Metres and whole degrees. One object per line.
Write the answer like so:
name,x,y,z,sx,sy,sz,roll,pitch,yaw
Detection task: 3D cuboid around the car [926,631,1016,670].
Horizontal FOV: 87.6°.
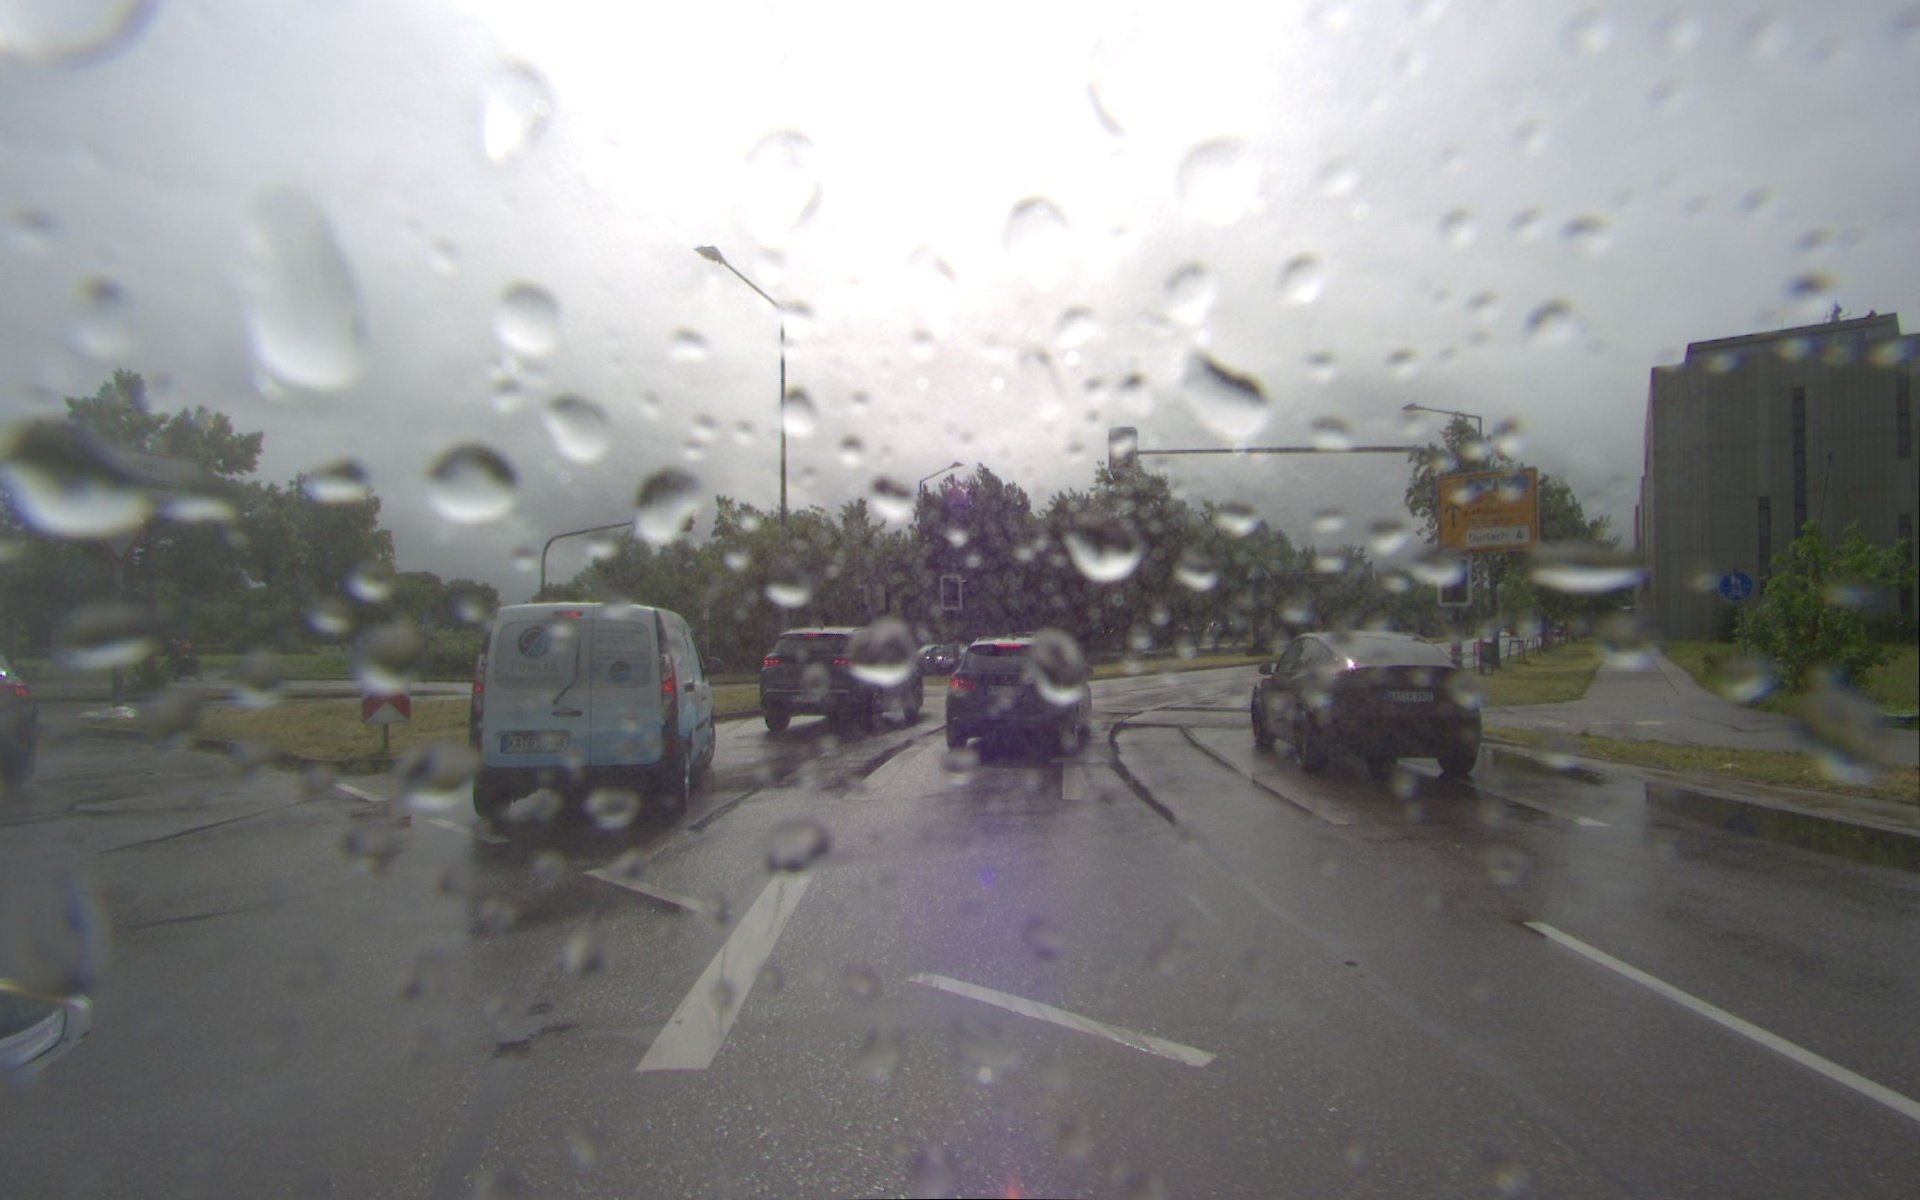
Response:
car,0.537,2.200,44.286,1.842,1.556,4.462,-1,-1,34

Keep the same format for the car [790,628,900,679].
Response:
car,-4.758,2.221,42.148,2.050,2.012,4.775,-1,-2,33

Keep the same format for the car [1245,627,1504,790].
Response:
car,5.010,1.200,12.833,1.839,1.678,4.500,0,-1,6

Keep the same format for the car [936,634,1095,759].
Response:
car,0.959,1.284,14.664,1.776,1.547,3.999,0,-2,11

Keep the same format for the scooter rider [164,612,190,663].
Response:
scooter rider,-31.919,1.548,40.835,0.762,2.038,0.700,-4,-4,42

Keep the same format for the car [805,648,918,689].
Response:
car,-3.687,2.569,38.315,1.842,1.397,4.527,-1,-2,34

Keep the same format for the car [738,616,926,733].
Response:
car,-2.067,1.193,17.618,2.004,1.780,4.321,0,-1,11

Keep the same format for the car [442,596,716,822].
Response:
car,-3.604,0.953,10.332,1.833,1.785,4.550,1,-2,-11

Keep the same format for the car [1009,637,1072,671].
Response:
car,4.036,2.647,49.655,1.546,1.601,3.582,-1,-2,34

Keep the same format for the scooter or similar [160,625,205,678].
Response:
scooter or similar,-31.297,2.095,40.278,1.227,2.038,3.381,2,-4,-41
